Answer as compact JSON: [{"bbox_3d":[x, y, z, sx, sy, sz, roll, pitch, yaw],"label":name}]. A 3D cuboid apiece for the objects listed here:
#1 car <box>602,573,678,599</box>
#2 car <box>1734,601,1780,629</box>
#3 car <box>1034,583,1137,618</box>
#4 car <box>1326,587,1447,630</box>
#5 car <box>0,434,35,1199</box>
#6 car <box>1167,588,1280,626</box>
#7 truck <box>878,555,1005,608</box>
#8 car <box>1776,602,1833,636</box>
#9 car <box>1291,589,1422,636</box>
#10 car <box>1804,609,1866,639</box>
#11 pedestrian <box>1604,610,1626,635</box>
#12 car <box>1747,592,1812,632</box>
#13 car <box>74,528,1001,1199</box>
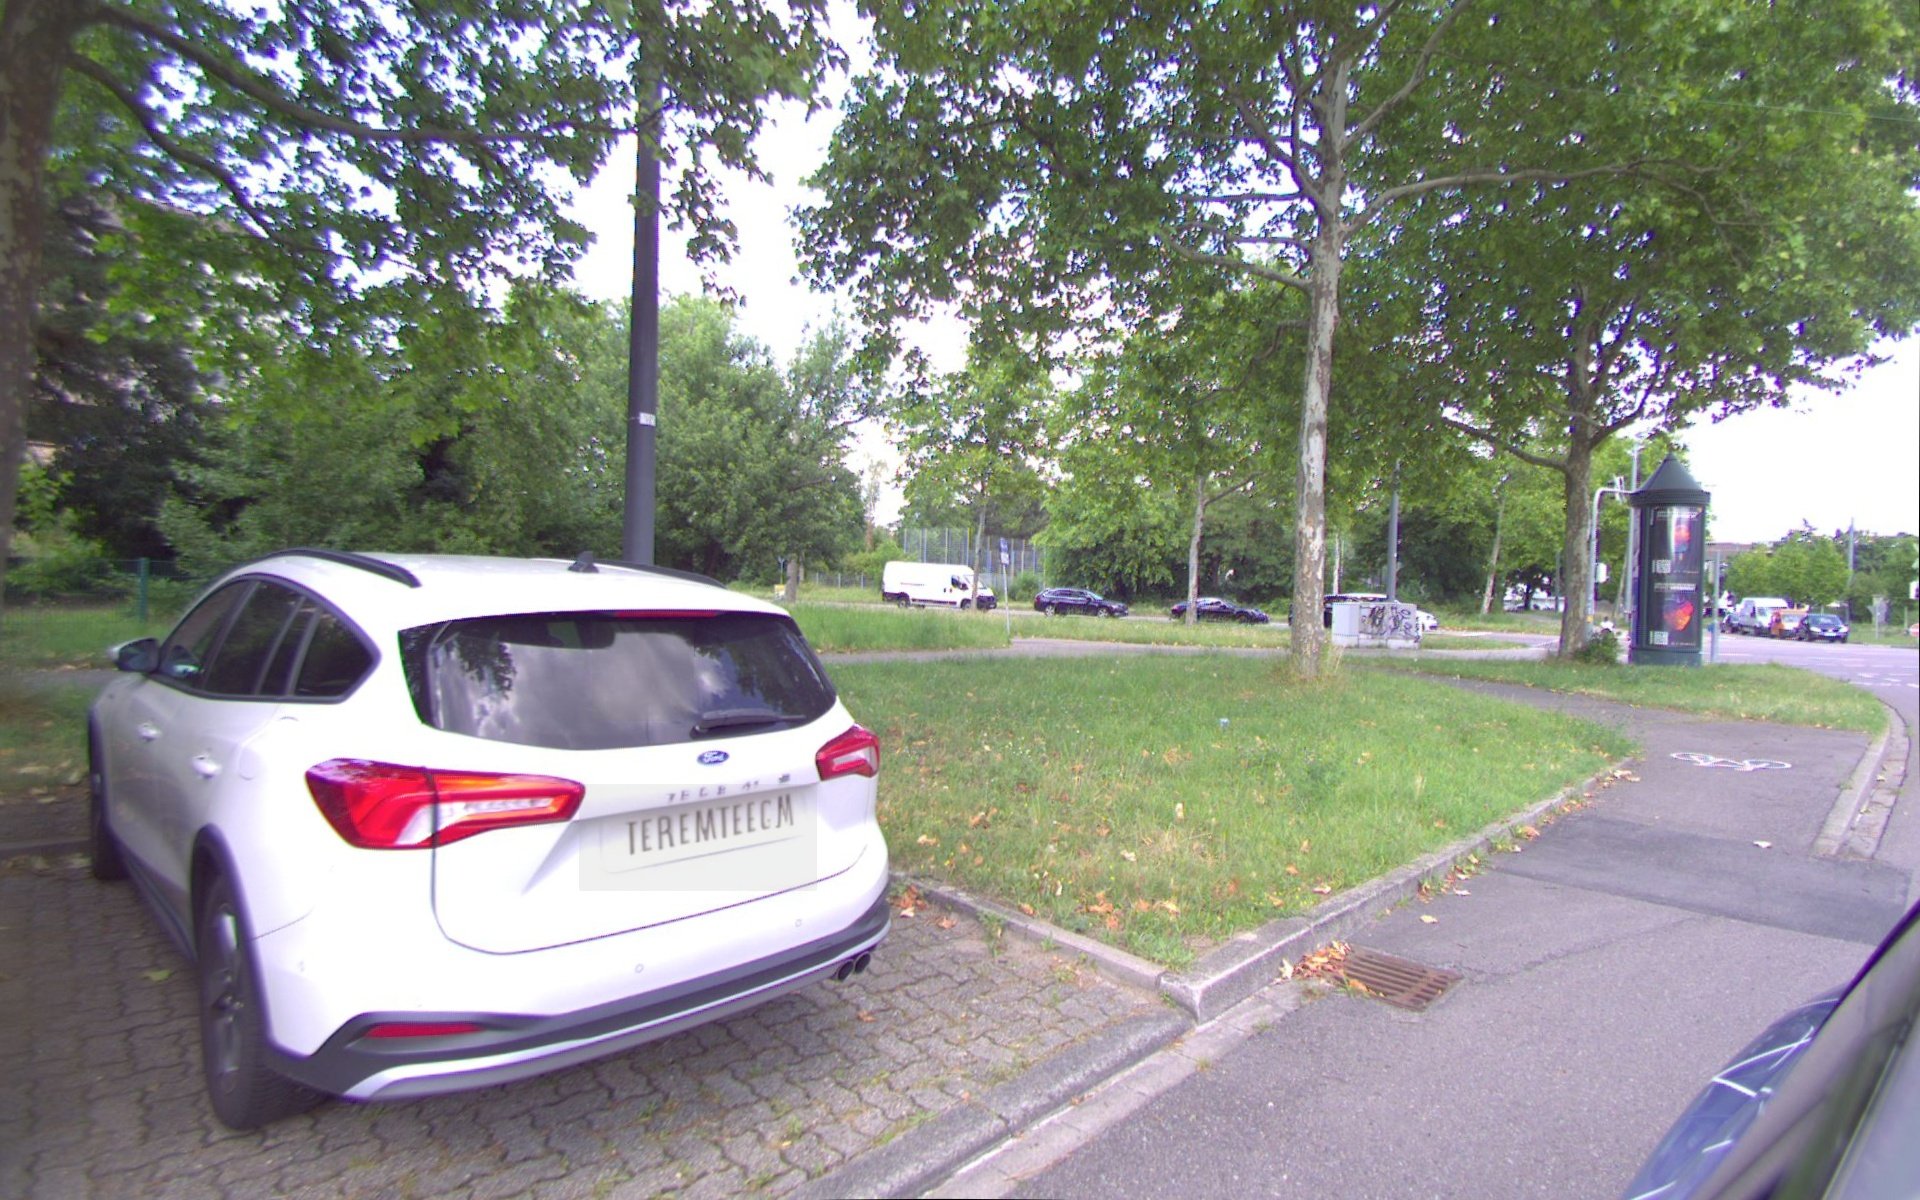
[{"bbox_3d":[-20.738,-0.941,65.539,4.643,1.532,1.981,2,2,27],"label":"car"},{"bbox_3d":[57.575,1.056,73.160,1.779,1.959,4.327,1,0,27],"label":"car"},{"bbox_3d":[6.155,-0.003,49.843,4.643,1.532,1.981,2,2,27],"label":"car"},{"bbox_3d":[18.261,0.322,43.394,4.643,1.630,1.981,2,2,27],"label":"car"},{"bbox_3d":[-3.874,0.419,2.679,4.660,1.646,1.818,4,2,44],"label":"car"},{"bbox_3d":[12.056,0.287,46.328,4.705,1.487,1.981,2,2,27],"label":"car"},{"bbox_3d":[-1.023,-1.007,53.935,6.450,2.628,2.195,2,1,29],"label":"truck"},{"bbox_3d":[51.960,1.147,62.371,1.780,1.959,4.326,1,0,28],"label":"car"},{"bbox_3d":[15.829,0.460,40.423,4.644,1.630,1.981,2,2,28],"label":"car"},{"bbox_3d":[49.180,1.306,56.969,1.780,1.558,3.960,1,1,28],"label":"car"},{"bbox_3d":[28.876,0.998,44.622,0.716,1.047,0.893,2,1,27],"label":"pedestrian"},{"bbox_3d":[55.025,0.787,68.086,2.219,2.538,5.672,1,0,27],"label":"car"},{"bbox_3d":[-2.188,0.510,4.171,4.660,1.492,1.818,4,2,44],"label":"car"}]
